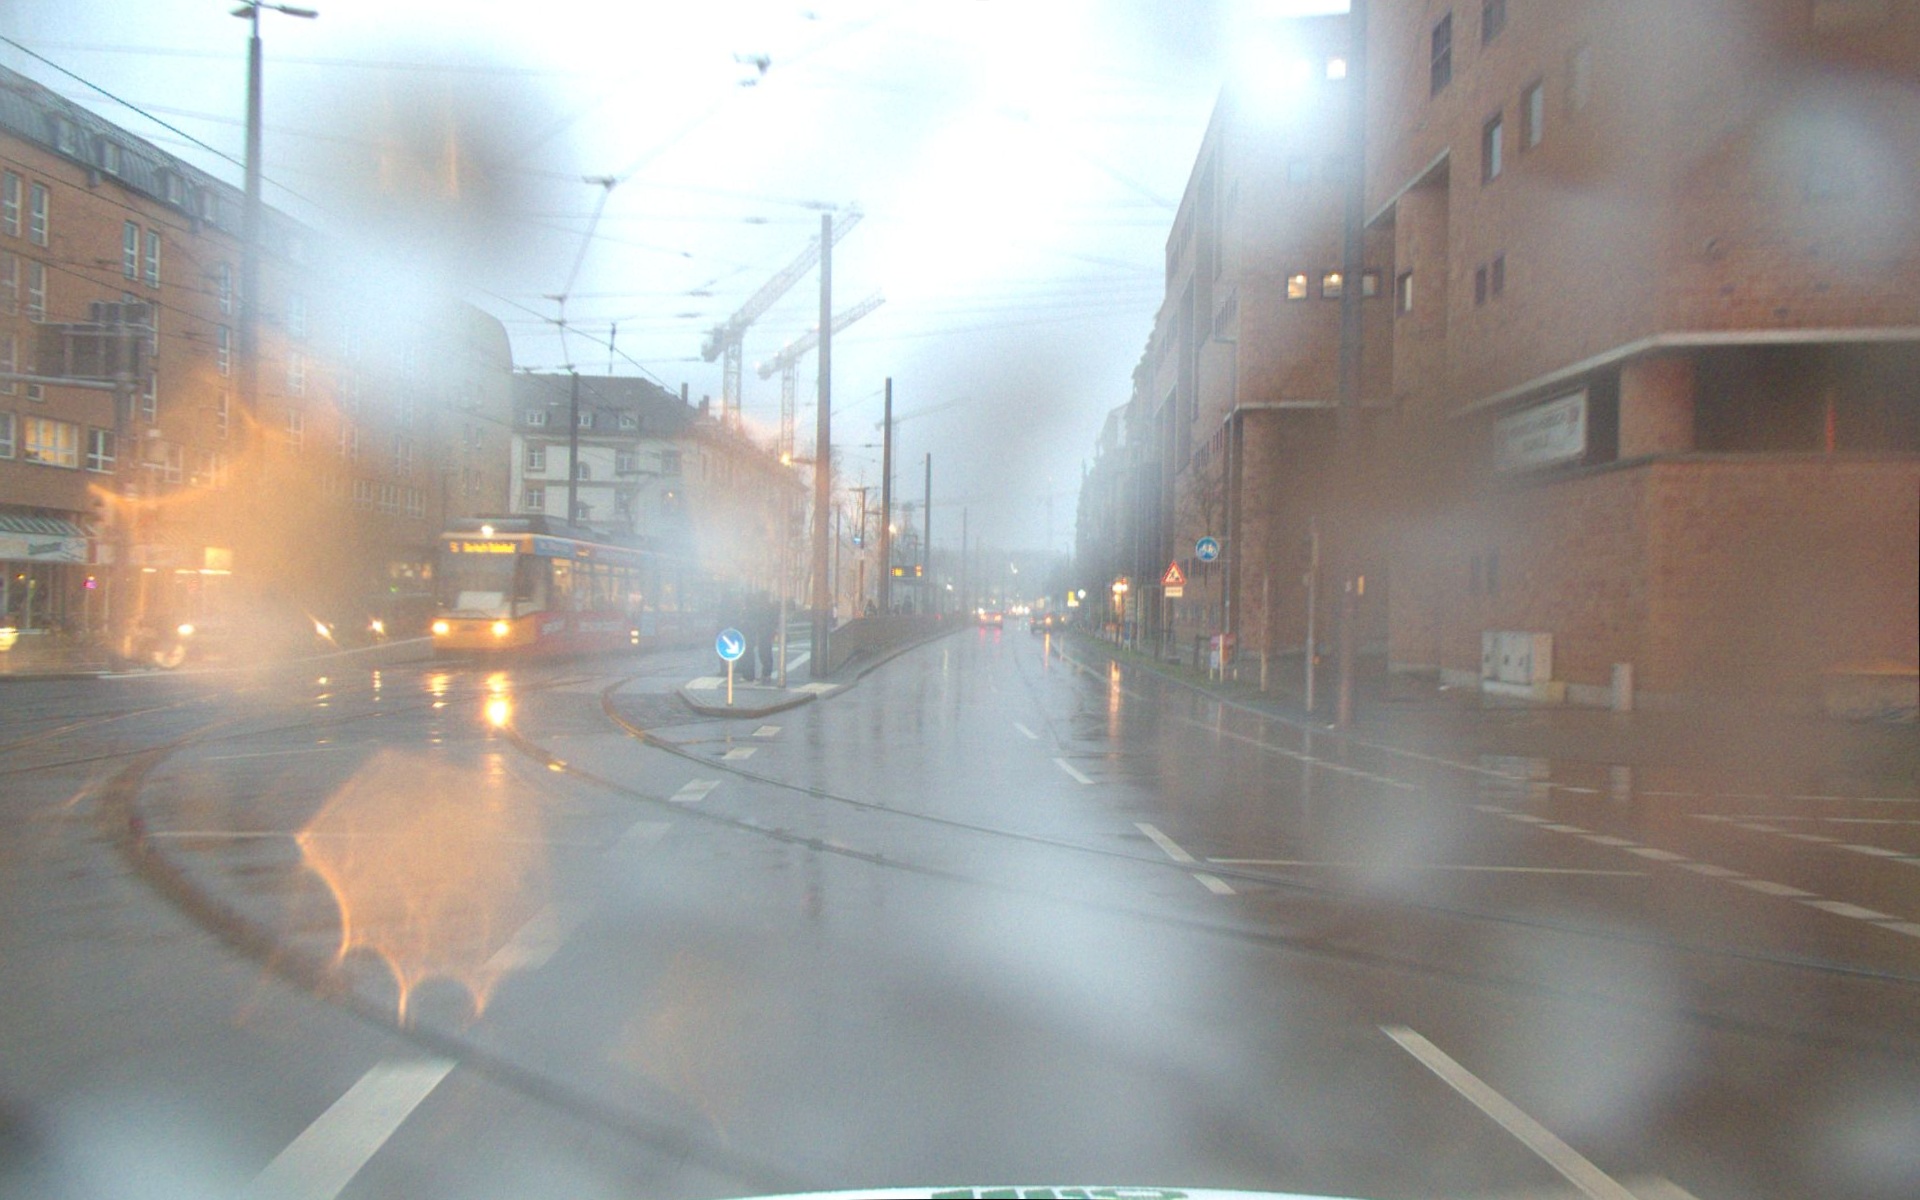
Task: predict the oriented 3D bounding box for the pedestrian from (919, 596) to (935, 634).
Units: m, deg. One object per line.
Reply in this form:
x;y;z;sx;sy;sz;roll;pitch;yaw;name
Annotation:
-1.763;0.805;89.120;0.793;1.981;0.805;1;0;3;pedestrian

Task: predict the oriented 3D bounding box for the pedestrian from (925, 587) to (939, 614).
-1.596;0.017;95.354;0.667;1.542;0.617;2;-1;-10;pedestrian

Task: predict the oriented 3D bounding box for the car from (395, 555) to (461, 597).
-27.780;-1.242;86.497;1.952;2.049;4.001;3;0;2;car

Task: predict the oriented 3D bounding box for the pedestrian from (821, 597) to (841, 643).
-4.616;0.717;59.166;0.605;1.618;0.622;1;-1;0;pedestrian

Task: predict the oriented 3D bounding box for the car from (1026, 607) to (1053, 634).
6.209;1.609;128.808;1.951;2.049;4.002;1;0;4;car

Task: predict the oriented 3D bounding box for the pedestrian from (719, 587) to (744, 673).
-4.785;0.624;34.660;0.424;1.766;0.473;1;-1;-3;pedestrian

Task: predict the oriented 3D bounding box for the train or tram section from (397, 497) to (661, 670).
-10.560;-0.324;42.422;2.889;3.651;12.258;3;0;3;train or tram section

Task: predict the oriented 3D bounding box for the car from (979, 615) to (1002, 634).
2.535;2.022;136.988;1.746;1.492;3.150;1;0;4;car

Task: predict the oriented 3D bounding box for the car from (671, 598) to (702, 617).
-21.117;0.583;127.672;1.647;1.378;3.546;2;-1;1;car

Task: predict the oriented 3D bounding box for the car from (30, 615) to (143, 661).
-30.034;1.277;57.026;1.578;1.517;4.229;1;0;1;car

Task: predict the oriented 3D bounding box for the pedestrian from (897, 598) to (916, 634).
-2.672;0.804;82.848;0.763;1.733;0.770;2;-1;-16;pedestrian

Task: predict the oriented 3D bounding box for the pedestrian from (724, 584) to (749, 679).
-4.748;0.670;35.167;0.424;2.002;0.473;1;-1;-3;pedestrian

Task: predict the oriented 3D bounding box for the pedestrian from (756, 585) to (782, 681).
-3.806;0.654;32.983;0.404;1.878;0.669;1;-1;-3;pedestrian

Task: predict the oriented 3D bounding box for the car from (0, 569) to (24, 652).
-21.084;0.183;33.182;1.791;1.739;4.706;1;0;2;car

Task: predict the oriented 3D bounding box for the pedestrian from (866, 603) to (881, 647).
-3.435;0.998;65.516;0.529;1.722;0.643;1;-1;0;pedestrian

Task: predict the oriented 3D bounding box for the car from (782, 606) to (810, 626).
-12.306;1.202;124.479;1.647;1.378;3.546;2;-1;1;car

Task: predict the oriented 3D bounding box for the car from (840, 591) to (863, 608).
-9.613;-0.064;146.628;1.647;1.378;3.546;2;-1;1;car

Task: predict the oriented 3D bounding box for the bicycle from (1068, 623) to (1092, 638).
8.585;2.174;118.227;1.694;1.073;0.371;0;-1;1;bicycle

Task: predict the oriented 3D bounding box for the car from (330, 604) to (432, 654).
-17.049;0.839;48.835;1.647;1.378;3.546;2;-1;1;car

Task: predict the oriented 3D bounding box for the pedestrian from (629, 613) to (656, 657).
-8.709;0.962;45.328;0.568;1.173;0.490;2;-1;4;pedestrian

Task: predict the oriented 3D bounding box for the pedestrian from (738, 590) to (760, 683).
-4.139;0.710;32.447;0.352;1.818;0.440;1;-1;-3;pedestrian
